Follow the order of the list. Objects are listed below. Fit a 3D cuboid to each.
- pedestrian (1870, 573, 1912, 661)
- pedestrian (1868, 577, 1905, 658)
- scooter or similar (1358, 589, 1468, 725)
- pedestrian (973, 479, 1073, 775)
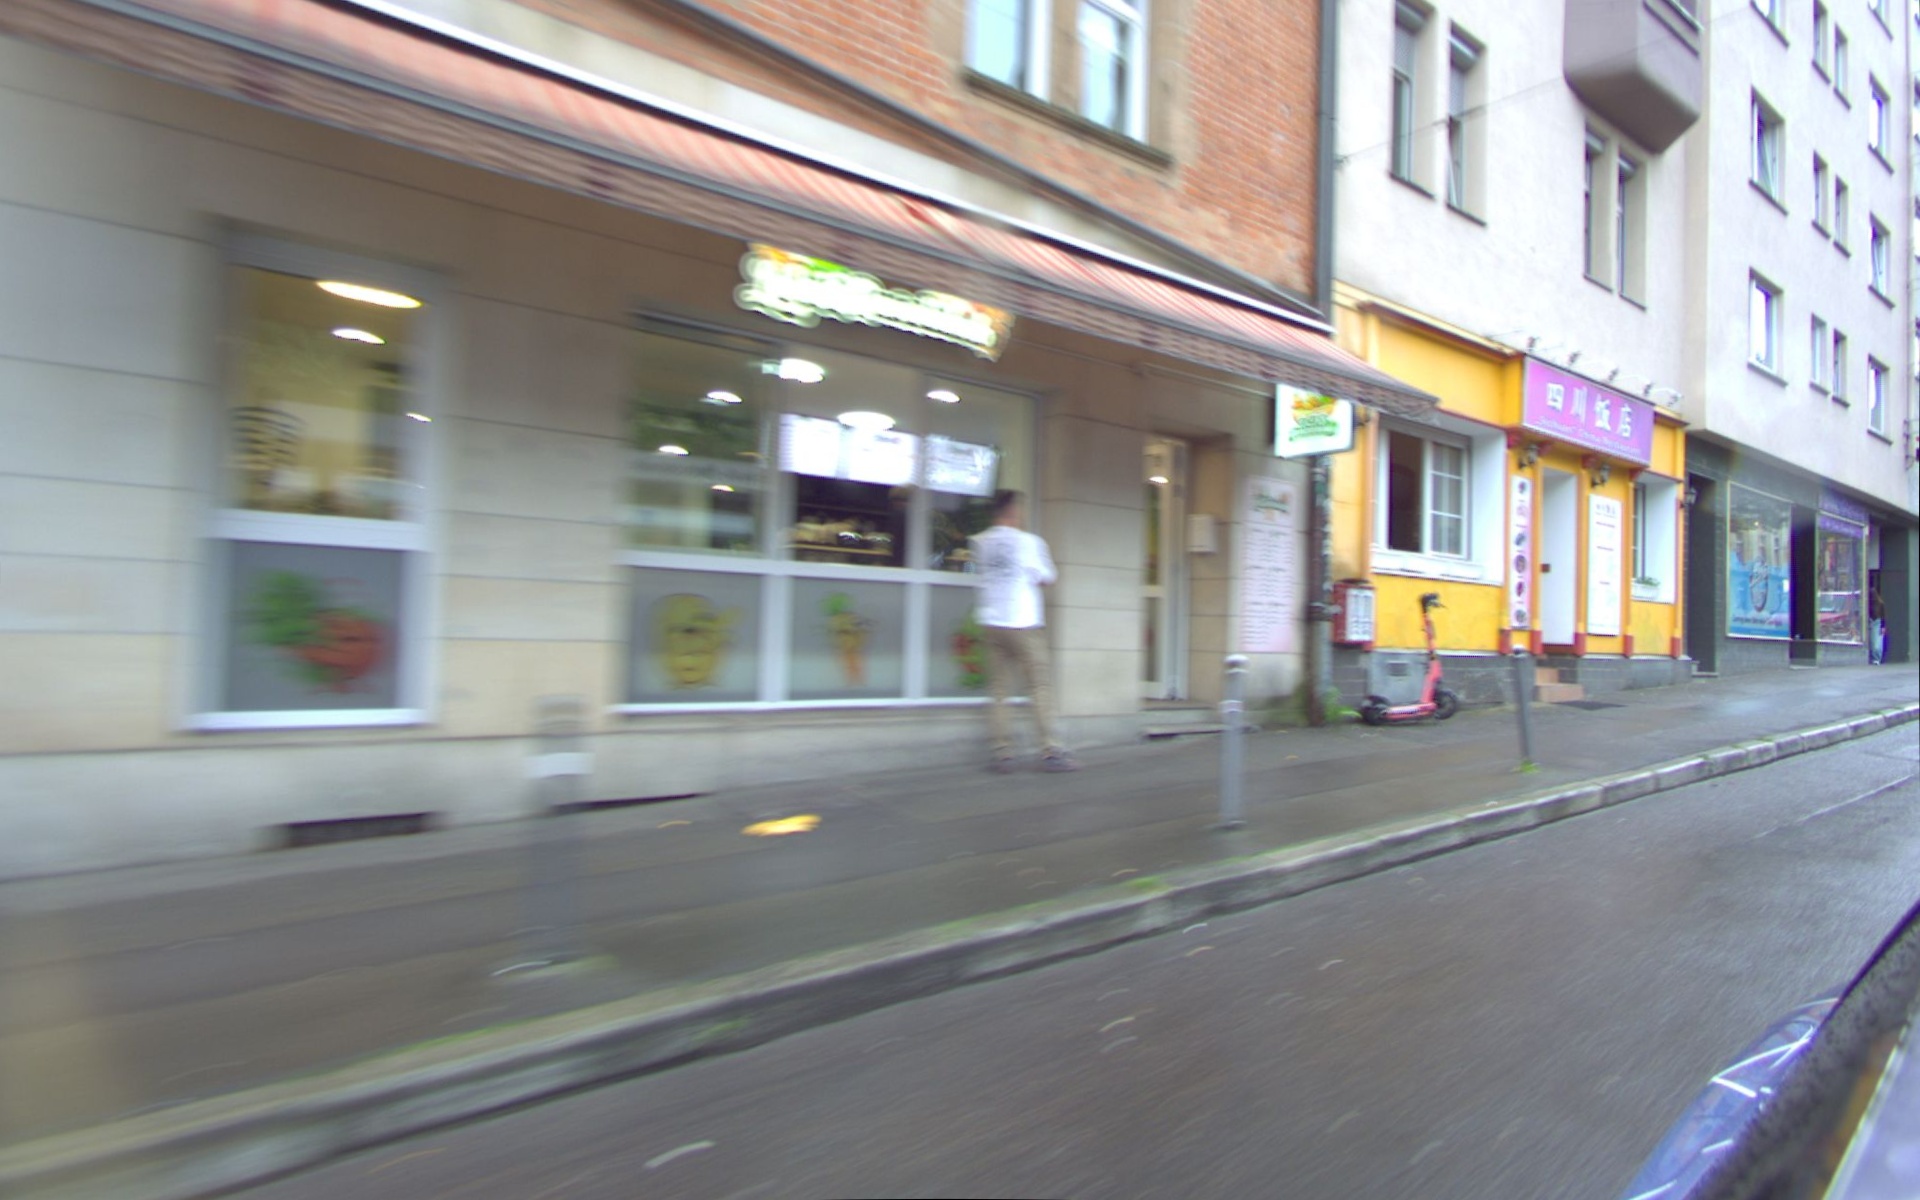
[{"bbox_3d":[18.795,0.339,20.435,0.506,1.742,0.463,0,-1,-27],"label":"pedestrian"},{"bbox_3d":[19.383,0.359,21.177,0.477,1.666,0.328,0,-1,27],"label":"pedestrian"},{"bbox_3d":[4.282,0.523,9.554,1.170,1.237,0.258,1,-1,-26],"label":"scooter or similar"},{"bbox_3d":[0.400,0.158,6.668,0.568,1.852,0.564,2,3,1],"label":"pedestrian"}]
